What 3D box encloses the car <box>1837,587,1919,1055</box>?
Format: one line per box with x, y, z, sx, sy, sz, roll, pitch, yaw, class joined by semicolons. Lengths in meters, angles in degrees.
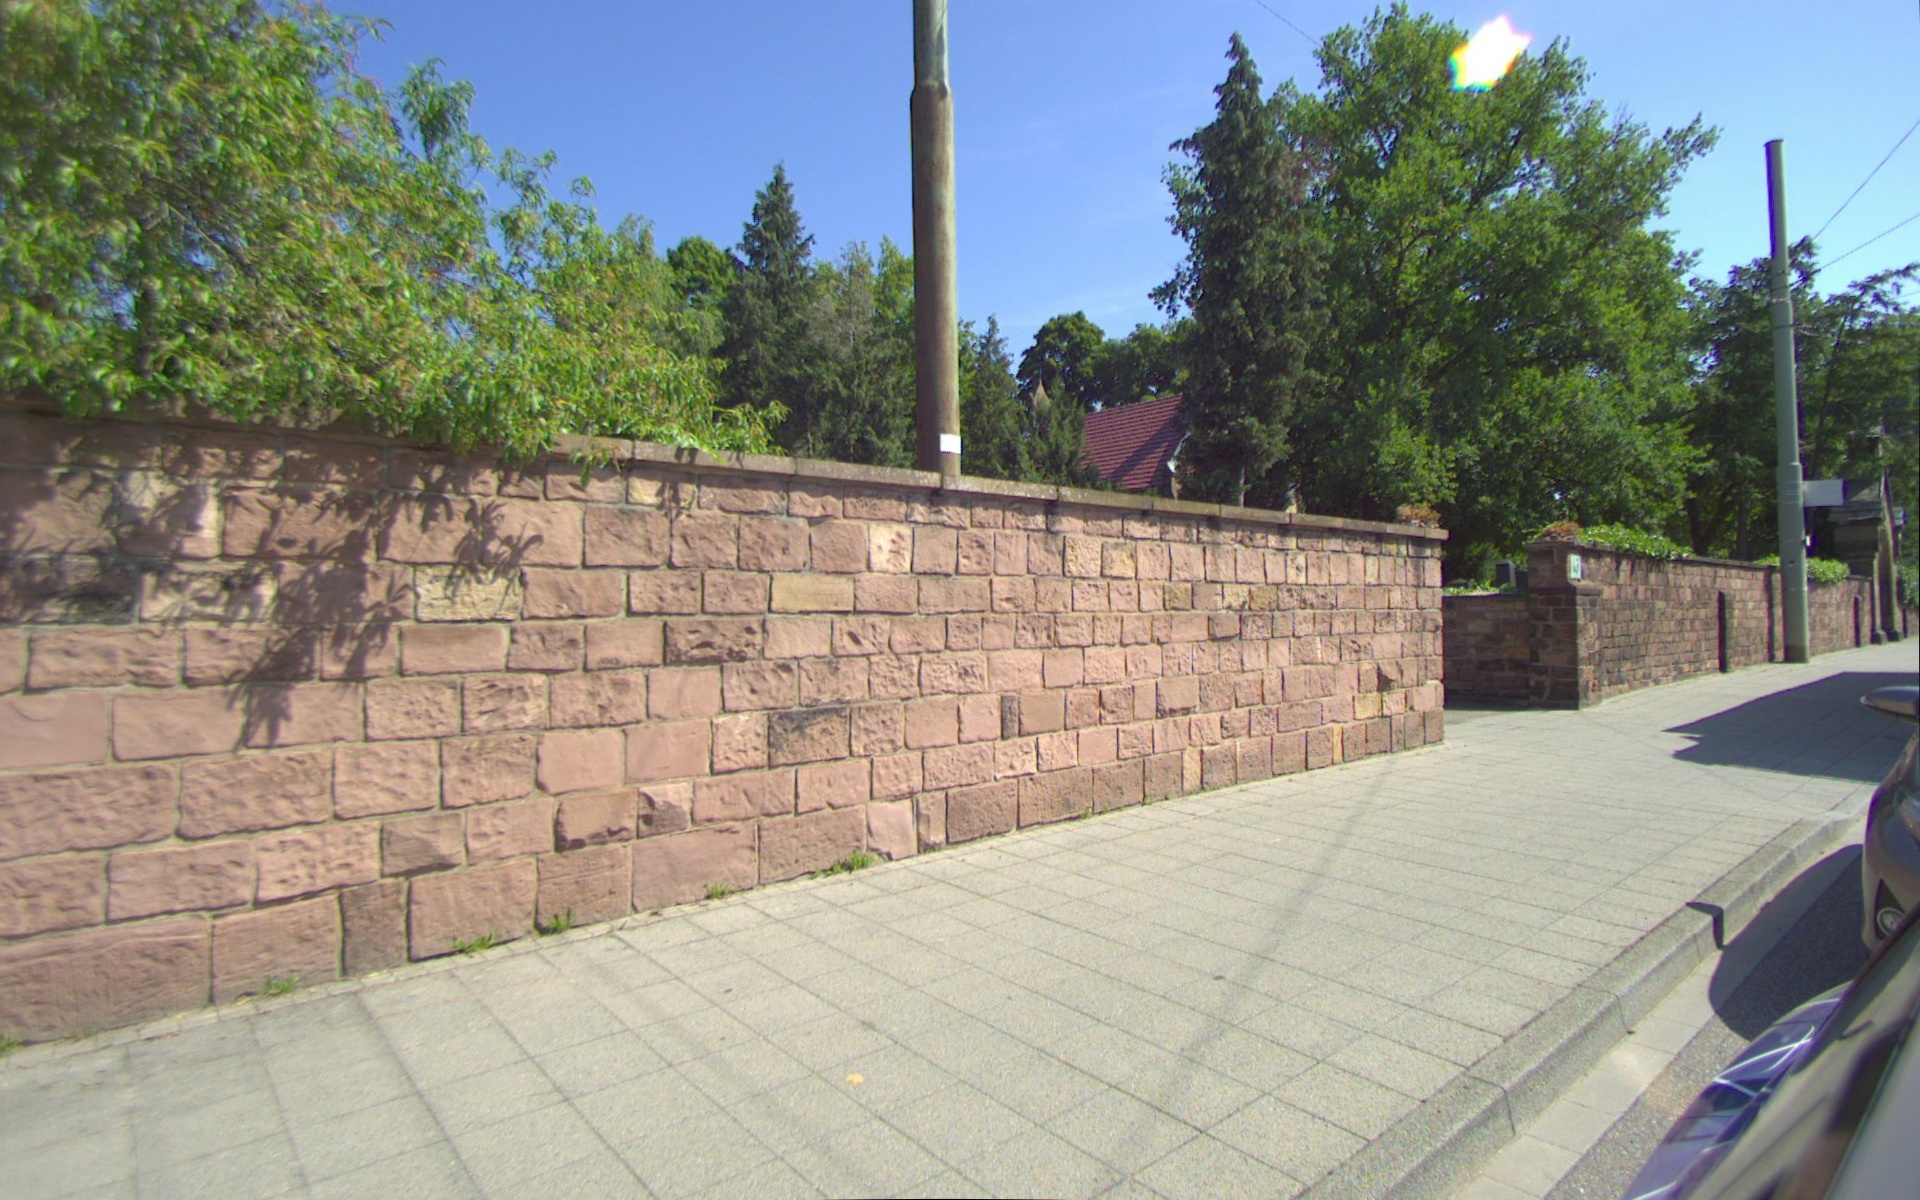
5.078;0.664;4.051;4.384;1.451;1.741;0;-1;-41;car
